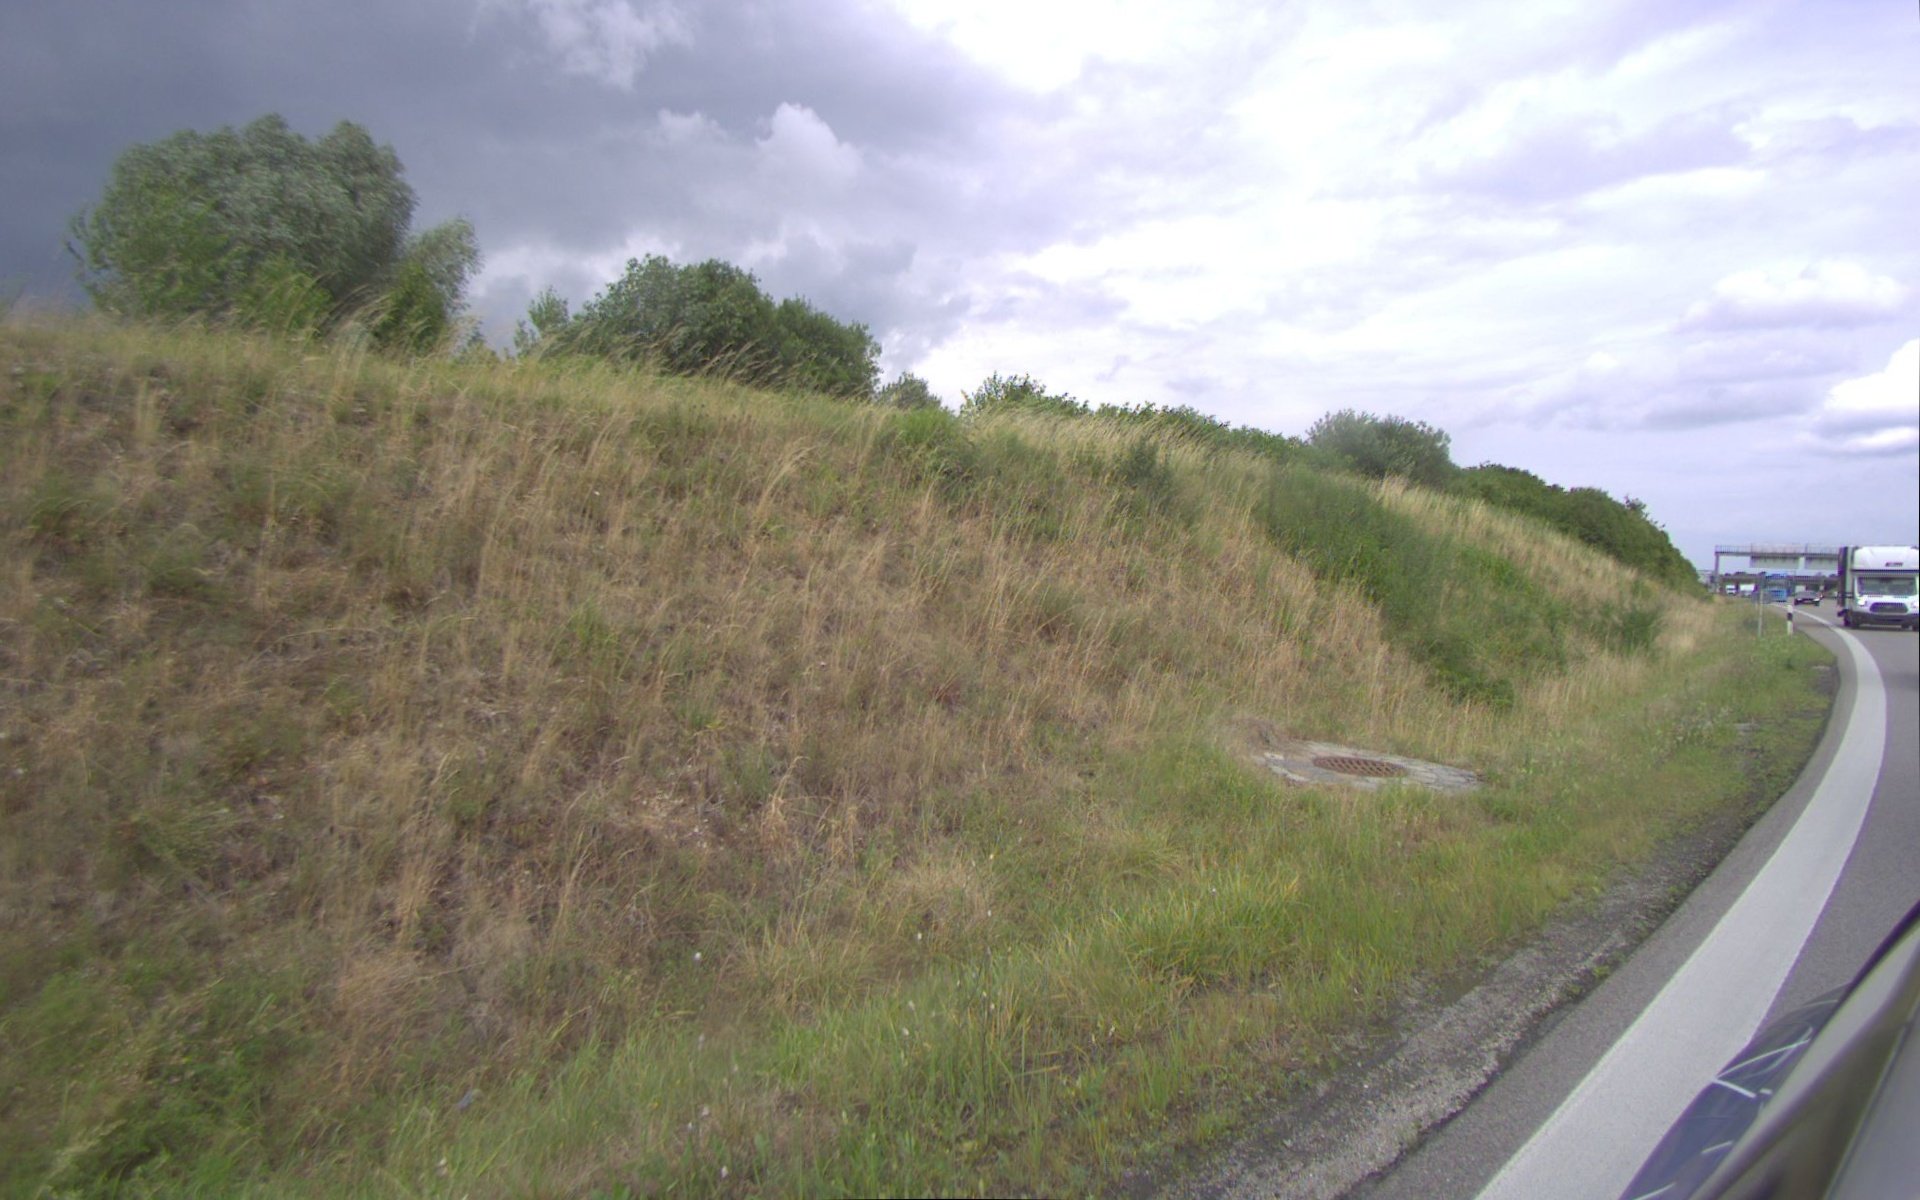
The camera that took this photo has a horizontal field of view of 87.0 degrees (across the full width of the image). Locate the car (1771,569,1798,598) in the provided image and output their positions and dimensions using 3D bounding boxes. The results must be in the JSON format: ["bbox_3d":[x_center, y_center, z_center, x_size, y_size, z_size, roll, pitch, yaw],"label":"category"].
[{"bbox_3d":[110.683,-2.179,135.854,2.493,3.757,7.598,2,2,37],"label":"car"}]

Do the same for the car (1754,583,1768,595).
[{"bbox_3d":[148.174,-2.037,187.210,1.922,2.057,3.945,2,2,38],"label":"car"}]

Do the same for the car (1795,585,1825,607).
[{"bbox_3d":[83.181,-0.432,99.068,1.990,2.038,3.945,2,2,38],"label":"car"}]

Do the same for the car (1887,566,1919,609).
[{"bbox_3d":[55.740,-0.740,59.229,1.991,2.425,3.942,0,1,40],"label":"car"}]

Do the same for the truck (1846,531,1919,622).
[{"bbox_3d":[36.420,-0.887,39.384,2.438,3.275,7.092,2,2,38],"label":"truck"}]
